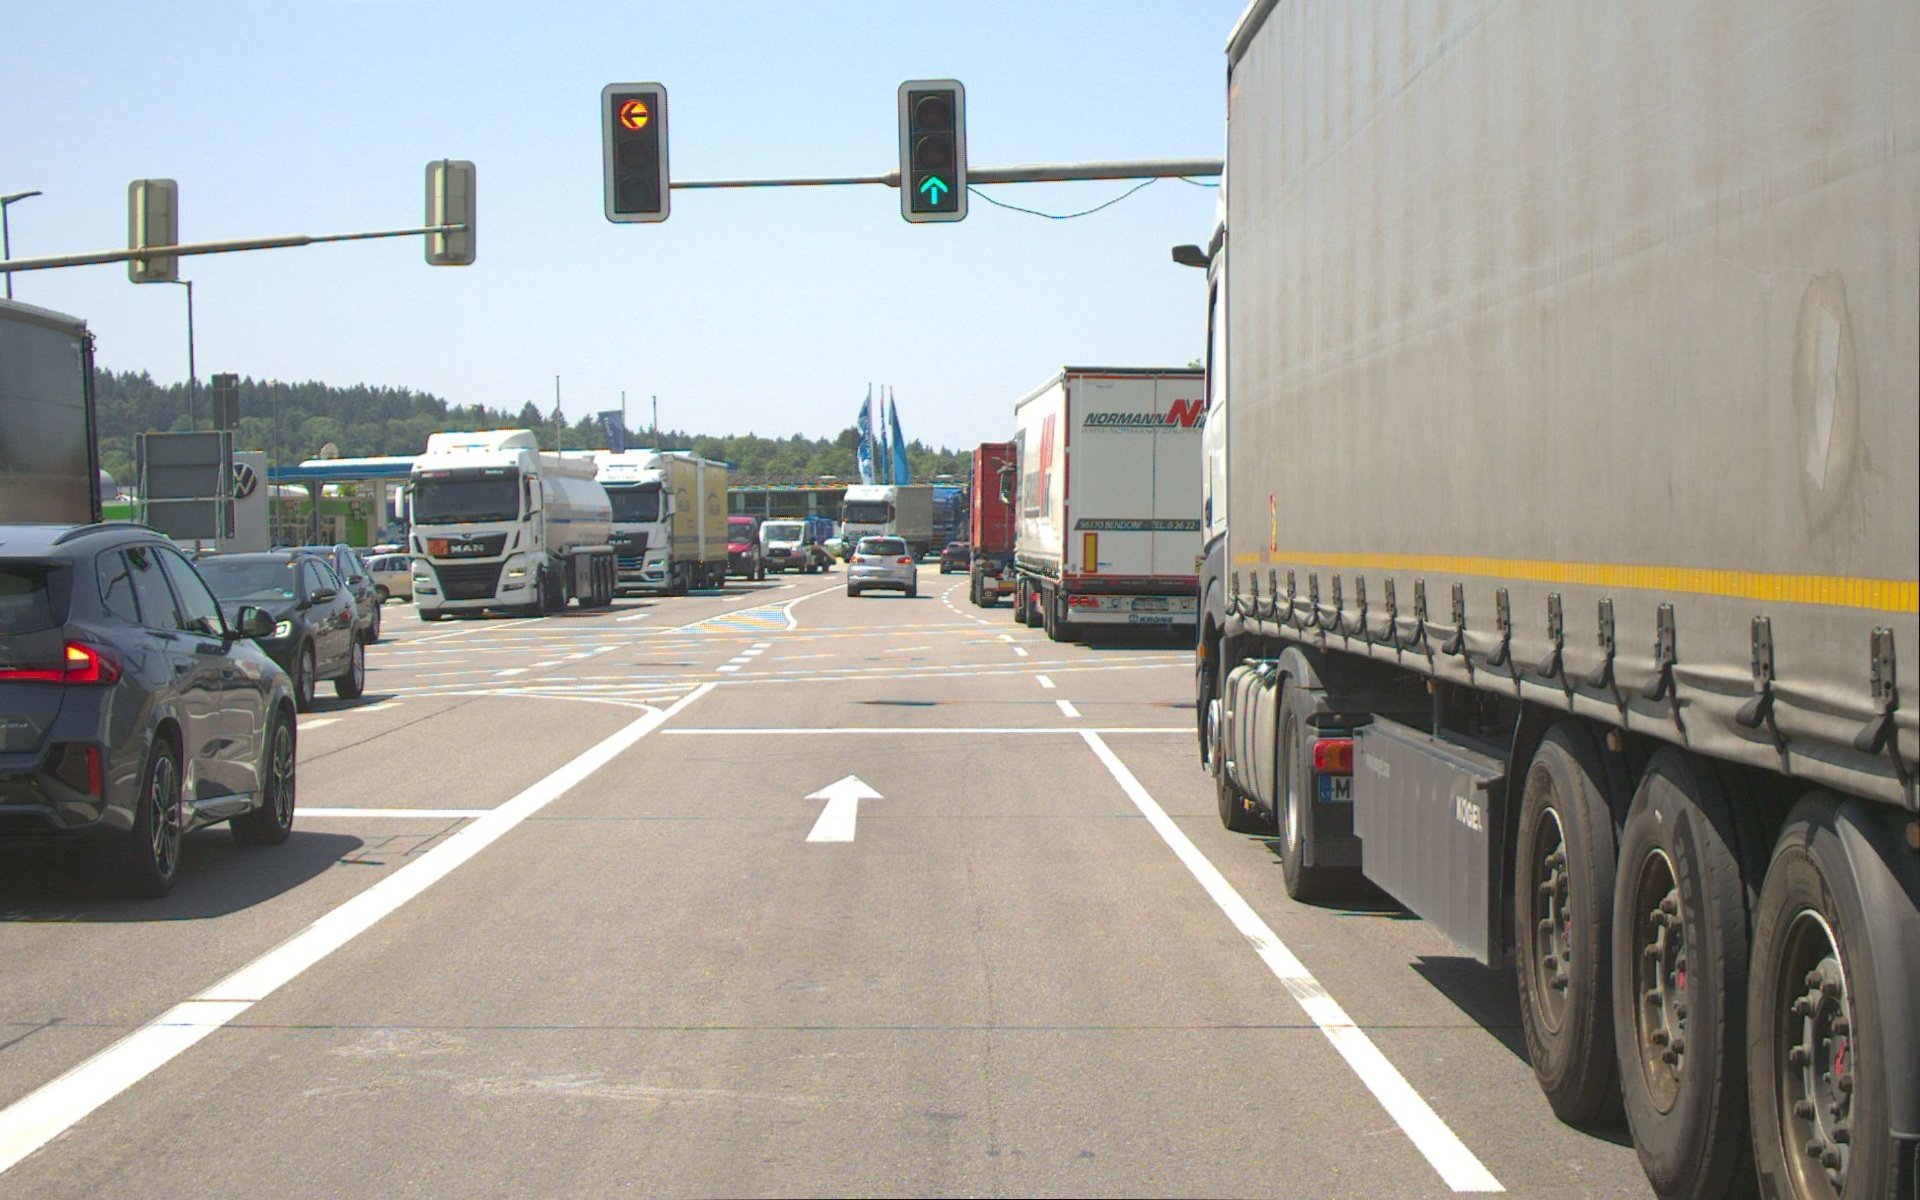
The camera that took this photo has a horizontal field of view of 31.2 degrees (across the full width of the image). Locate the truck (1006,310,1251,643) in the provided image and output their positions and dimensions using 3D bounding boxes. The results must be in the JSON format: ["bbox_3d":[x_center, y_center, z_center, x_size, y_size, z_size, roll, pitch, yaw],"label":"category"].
[{"bbox_3d":[2.455,-1.685,56.126,2.875,4.623,16.655,0,0,-1],"label":"truck"}]

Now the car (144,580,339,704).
[{"bbox_3d":[-10.298,0.567,49.544,1.825,1.577,4.246,-2,1,0],"label":"car"}]

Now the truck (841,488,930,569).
[{"bbox_3d":[-3.833,-3.709,181.469,3.271,3.937,13.862,0,0,5],"label":"truck"}]

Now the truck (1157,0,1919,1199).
[{"bbox_3d":[2.676,-0.484,11.653,2.755,4.623,16.655,0,0,-1],"label":"truck"}]

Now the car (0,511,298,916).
[{"bbox_3d":[-4.326,0.429,15.957,1.793,1.621,4.370,0,1,-2],"label":"car"}]

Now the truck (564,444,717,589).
[{"bbox_3d":[-9.307,-2.413,101.751,2.934,3.936,13.865,-1,1,1],"label":"truck"}]

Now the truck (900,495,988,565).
[{"bbox_3d":[-0.867,-4.136,204.827,3.272,3.936,13.861,-1,1,8],"label":"truck"}]

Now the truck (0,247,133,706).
[{"bbox_3d":[-10.699,-1.056,28.332,3.146,4.334,17.543,-2,1,1],"label":"truck"}]

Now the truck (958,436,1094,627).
[{"bbox_3d":[1.530,-1.568,88.504,2.875,4.463,16.655,0,0,-1],"label":"truck"}]

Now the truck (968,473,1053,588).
[{"bbox_3d":[1.660,-2.295,117.164,2.608,3.704,9.449,0,0,-1],"label":"truck"}]

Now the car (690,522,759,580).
[{"bbox_3d":[-8.404,-1.745,123.029,1.994,2.007,4.000,0,0,3],"label":"car"}]

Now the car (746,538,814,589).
[{"bbox_3d":[-7.232,-1.485,138.577,2.203,2.007,4.756,-1,1,3],"label":"car"}]

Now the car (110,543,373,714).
[{"bbox_3d":[-6.876,0.226,33.266,1.664,1.503,3.905,-2,1,0],"label":"car"}]

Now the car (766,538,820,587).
[{"bbox_3d":[-7.054,-1.587,145.669,1.905,2.007,4.000,0,0,2],"label":"car"}]

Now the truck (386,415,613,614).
[{"bbox_3d":[-9.968,-1.831,76.191,2.934,3.936,14.238,-1,1,0],"label":"truck"}]

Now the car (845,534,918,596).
[{"bbox_3d":[-2.142,-0.961,94.785,1.804,1.664,4.291,0,1,1],"label":"car"}]

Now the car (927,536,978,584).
[{"bbox_3d":[-0.325,-1.761,149.708,1.994,2.007,4.000,-1,1,3],"label":"car"}]
